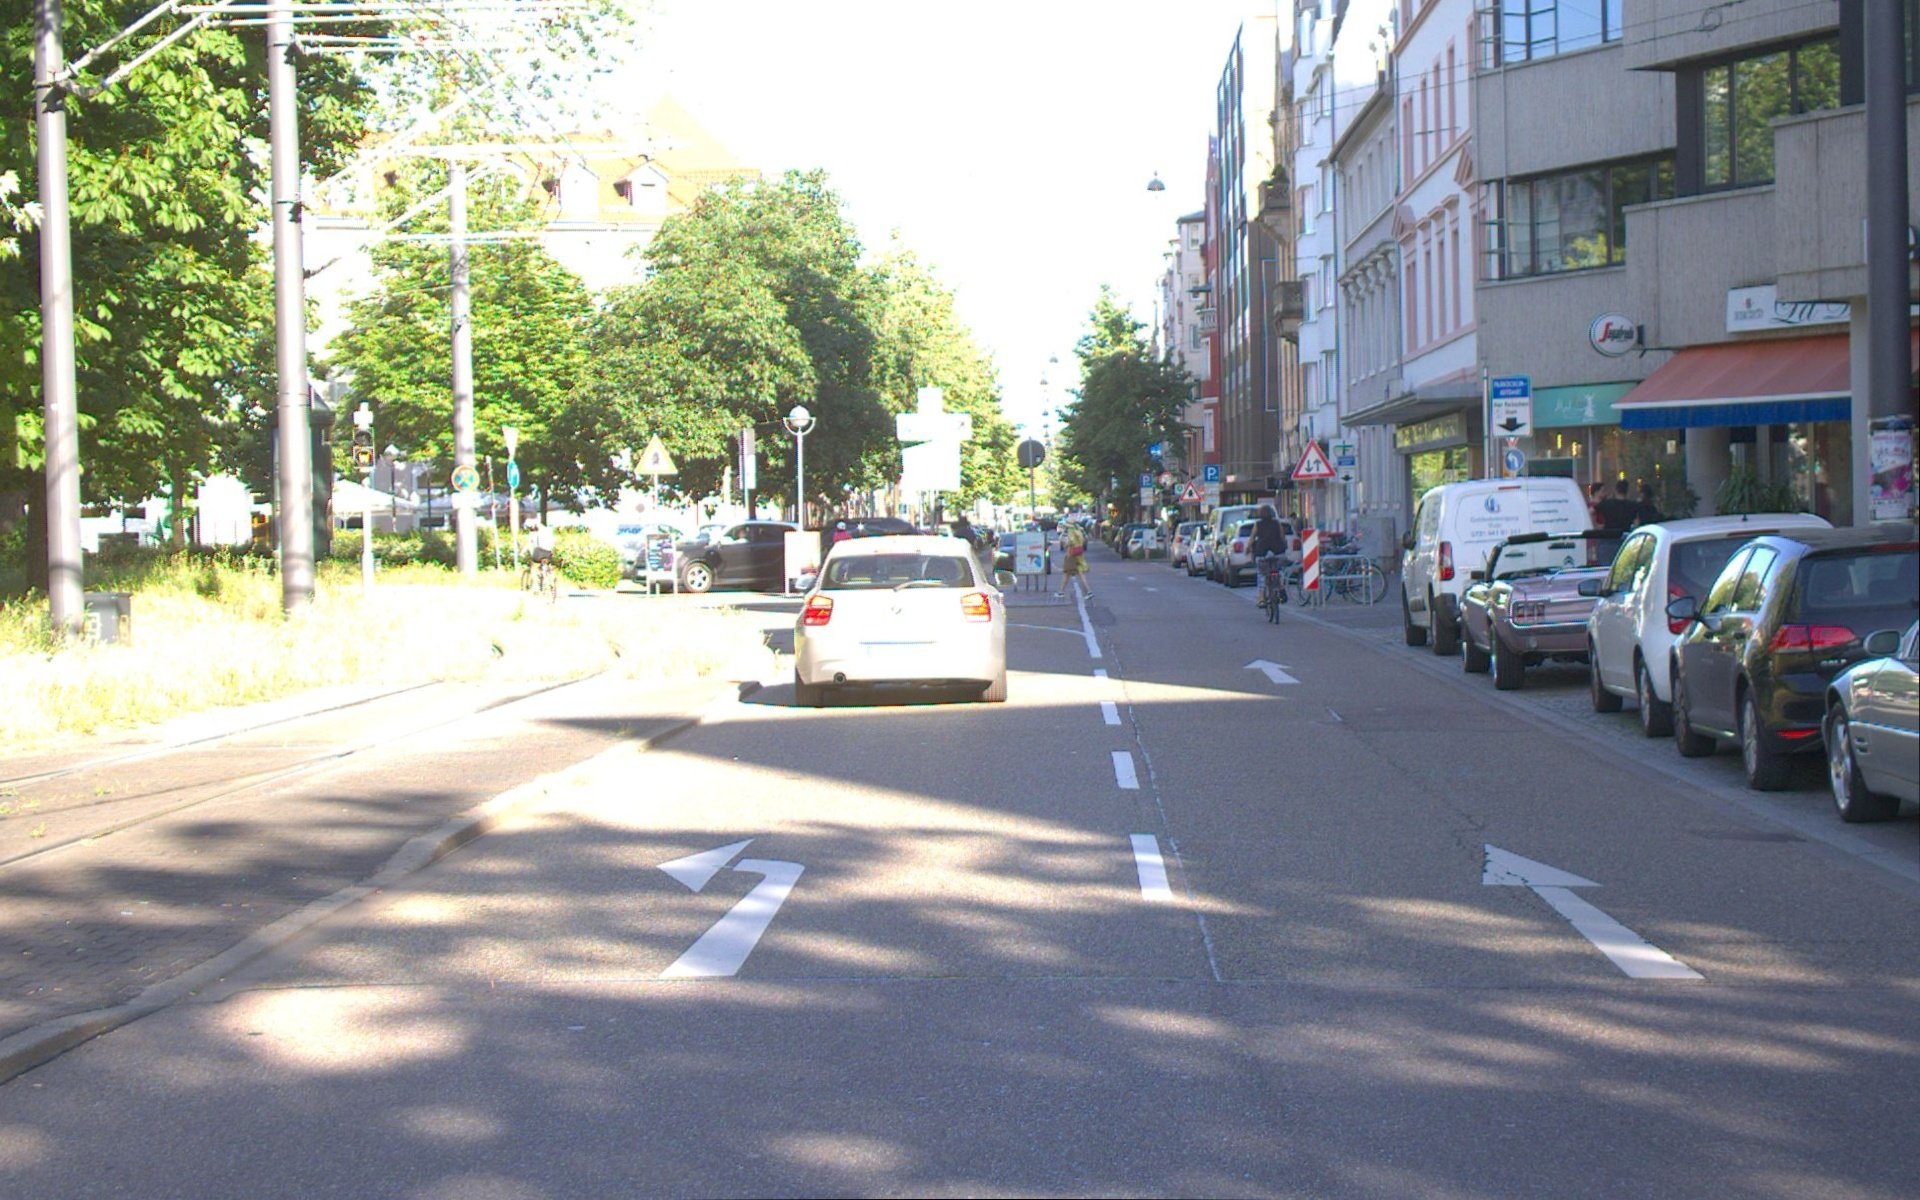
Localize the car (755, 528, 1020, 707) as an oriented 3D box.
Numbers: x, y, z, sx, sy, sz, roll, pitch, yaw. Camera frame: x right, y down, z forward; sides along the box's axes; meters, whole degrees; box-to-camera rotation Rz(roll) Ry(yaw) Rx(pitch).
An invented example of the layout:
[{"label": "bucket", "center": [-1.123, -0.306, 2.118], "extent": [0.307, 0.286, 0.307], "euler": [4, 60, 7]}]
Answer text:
[{"label": "car", "center": [-0.550, 0.129, 29.825], "extent": [1.994, 1.418, 4.196], "euler": [1, 0, 3]}]

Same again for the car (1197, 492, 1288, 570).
[{"label": "car", "center": [7.483, -1.848, 91.502], "extent": [1.993, 1.998, 5.118], "euler": [-1, 1, 0]}]

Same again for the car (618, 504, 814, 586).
[{"label": "car", "center": [-5.256, -1.194, 74.301], "extent": [3.859, 1.676, 1.811], "euler": [-2, 1, -39]}]

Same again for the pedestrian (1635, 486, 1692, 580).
[{"label": "pedestrian", "center": [9.458, -0.894, 46.224], "extent": [0.630, 1.232, 0.624], "euler": [-3, 0, 5]}]

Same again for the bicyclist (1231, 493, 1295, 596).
[{"label": "bicyclist", "center": [4.355, -0.795, 49.413], "extent": [0.786, 1.448, 1.096], "euler": [1, 0, -1]}]

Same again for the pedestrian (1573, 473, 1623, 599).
[{"label": "pedestrian", "center": [8.716, -0.874, 46.964], "extent": [0.583, 1.708, 0.697], "euler": [1, 0, 5]}]

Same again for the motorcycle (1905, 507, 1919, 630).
[{"label": "motorcycle", "center": [9.527, -0.313, 32.857], "extent": [0.764, 1.151, 2.046], "euler": [-3, 0, 11]}]

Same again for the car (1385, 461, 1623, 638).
[{"label": "car", "center": [5.899, -0.535, 37.726], "extent": [1.993, 1.806, 4.309], "euler": [1, 0, 1]}]

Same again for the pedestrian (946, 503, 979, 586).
[{"label": "pedestrian", "center": [0.051, -1.109, 68.951], "extent": [0.636, 1.666, 0.692], "euler": [0, 0, 2]}]

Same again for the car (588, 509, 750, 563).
[{"label": "car", "center": [-10.293, -2.248, 121.617], "extent": [5.262, 1.794, 2.164], "euler": [0, 0, -25]}]

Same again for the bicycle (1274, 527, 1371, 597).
[{"label": "bicycle", "center": [6.522, -0.678, 61.850], "extent": [1.623, 1.239, 0.658], "euler": [1, 0, 22]}]

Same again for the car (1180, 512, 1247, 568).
[{"label": "car", "center": [7.441, -1.758, 101.137], "extent": [1.718, 1.510, 3.583], "euler": [-3, 0, 1]}]

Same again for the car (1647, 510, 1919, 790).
[{"label": "car", "center": [5.271, 0.263, 20.733], "extent": [1.671, 1.513, 4.199], "euler": [1, 0, 4]}]

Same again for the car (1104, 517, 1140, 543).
[{"label": "car", "center": [9.217, -3.995, 195.813], "extent": [1.993, 1.448, 4.000], "euler": [0, 1, 1]}]

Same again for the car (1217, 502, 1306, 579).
[{"label": "car", "center": [7.087, -1.376, 81.193], "extent": [1.745, 1.733, 4.960], "euler": [1, 0, 1]}]

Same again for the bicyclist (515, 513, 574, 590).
[{"label": "bicyclist", "center": [-8.204, -0.959, 67.886], "extent": [0.928, 1.502, 0.825], "euler": [0, 0, -25]}]

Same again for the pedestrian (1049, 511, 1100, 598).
[{"label": "pedestrian", "center": [2.224, -0.881, 66.919], "extent": [0.668, 1.693, 0.805], "euler": [0, 0, -28]}]

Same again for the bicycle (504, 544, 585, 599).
[{"label": "bicycle", "center": [-8.226, -0.559, 67.931], "extent": [0.809, 1.065, 2.583], "euler": [0, 0, -25]}]

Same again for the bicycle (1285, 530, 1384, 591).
[{"label": "bicycle", "center": [6.535, -0.691, 59.980], "extent": [1.680, 1.058, 0.343], "euler": [1, 0, 18]}]

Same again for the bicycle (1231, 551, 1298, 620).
[{"label": "bicycle", "center": [4.366, -0.208, 49.378], "extent": [0.652, 0.955, 2.698], "euler": [1, 0, -1]}]

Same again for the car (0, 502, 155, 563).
[{"label": "car", "center": [-30.708, -2.297, 118.387], "extent": [5.574, 2.007, 1.818], "euler": [0, 0, -25]}]

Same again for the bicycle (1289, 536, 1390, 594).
[{"label": "bicycle", "center": [6.661, -0.620, 60.343], "extent": [1.705, 1.001, 0.427], "euler": [1, 0, 18]}]

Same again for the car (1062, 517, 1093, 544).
[{"label": "car", "center": [7.167, -4.220, 208.994], "extent": [1.870, 1.550, 4.000], "euler": [1, 0, 2]}]

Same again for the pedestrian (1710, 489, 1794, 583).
[{"label": "pedestrian", "center": [11.223, -0.901, 48.740], "extent": [0.841, 1.288, 0.831], "euler": [-2, 0, -10]}]

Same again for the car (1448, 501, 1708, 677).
[{"label": "car", "center": [5.493, -0.107, 31.082], "extent": [1.774, 1.449, 4.730], "euler": [1, 0, 4]}]

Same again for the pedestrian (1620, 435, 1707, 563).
[{"label": "pedestrian", "center": [9.632, -1.377, 47.067], "extent": [0.841, 1.704, 0.720], "euler": [-3, 2, -26]}]

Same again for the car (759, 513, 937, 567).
[{"label": "car", "center": [-3.234, -1.730, 99.358], "extent": [4.833, 1.483, 1.765], "euler": [0, 0, -22]}]

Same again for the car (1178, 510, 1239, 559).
[{"label": "car", "center": [8.818, -2.326, 122.311], "extent": [1.899, 1.669, 4.825], "euler": [1, 0, 1]}]

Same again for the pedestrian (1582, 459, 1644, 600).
[{"label": "pedestrian", "center": [8.770, -0.939, 46.164], "extent": [0.671, 1.850, 0.610], "euler": [-3, 0, 5]}]

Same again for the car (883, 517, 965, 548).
[{"label": "car", "center": [-1.783, -3.381, 172.411], "extent": [3.987, 1.503, 1.894], "euler": [1, 1, 3]}]

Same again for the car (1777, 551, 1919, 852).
[{"label": "car", "center": [5.218, 0.456, 15.990], "extent": [1.851, 1.339, 4.599], "euler": [1, 0, 2]}]

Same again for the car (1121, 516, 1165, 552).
[{"label": "car", "center": [8.729, -3.130, 163.514], "extent": [1.994, 1.612, 4.009], "euler": [1, 0, 4]}]

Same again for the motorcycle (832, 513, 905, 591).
[{"label": "motorcycle", "center": [-1.653, -0.858, 61.901], "extent": [0.745, 1.369, 1.761], "euler": [0, 0, -22]}]

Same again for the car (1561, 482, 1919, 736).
[{"label": "car", "center": [5.592, 0.048, 24.921], "extent": [1.851, 1.683, 3.867], "euler": [1, 0, 1]}]
